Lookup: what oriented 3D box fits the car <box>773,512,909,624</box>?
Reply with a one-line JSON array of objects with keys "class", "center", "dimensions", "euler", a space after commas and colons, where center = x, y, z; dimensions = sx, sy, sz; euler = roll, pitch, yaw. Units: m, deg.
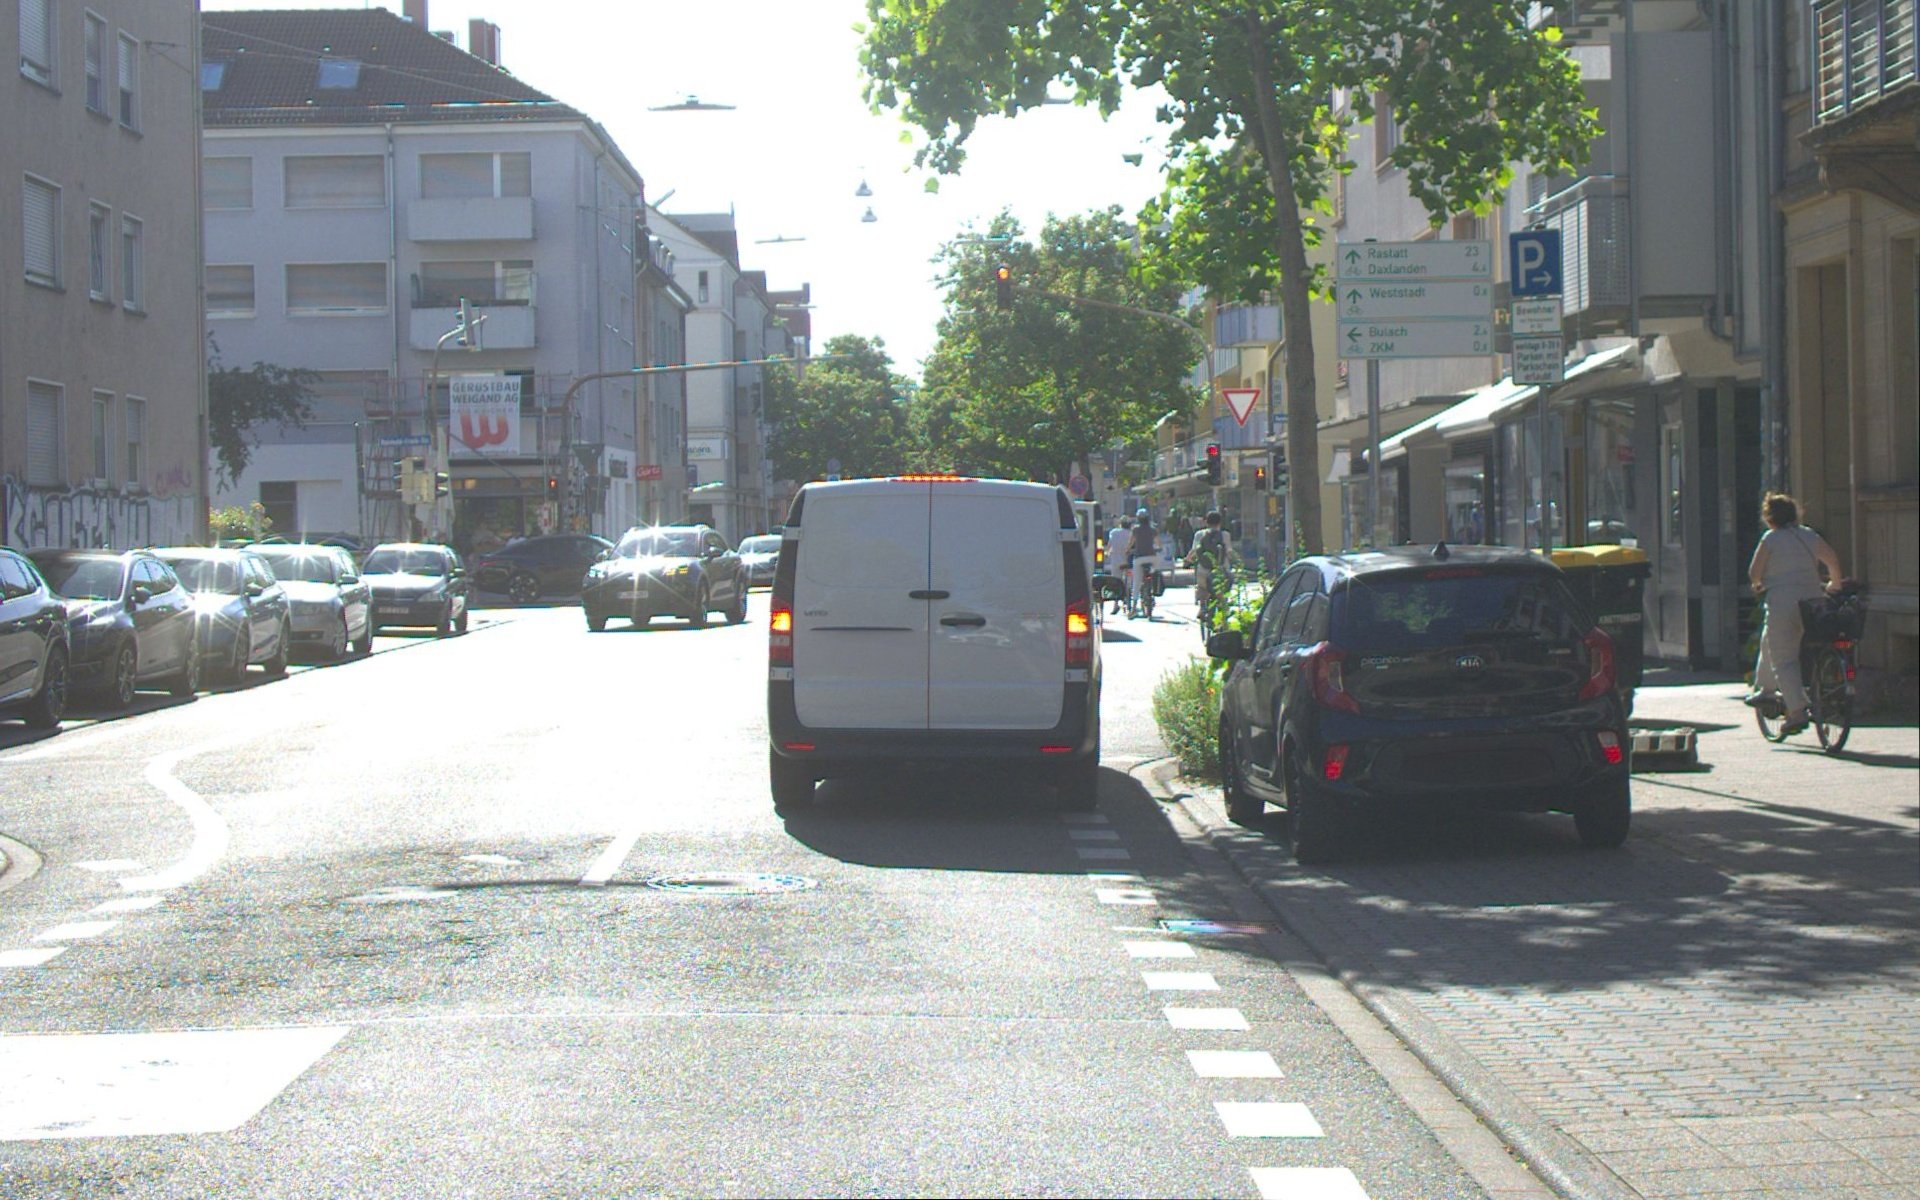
[{"class": "car", "center": [-1.722, -0.489, 49.587], "dimensions": [1.844, 1.502, 4.001], "euler": [-1, 1, -2]}]

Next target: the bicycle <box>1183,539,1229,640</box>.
[{"class": "bicycle", "center": [3.161, -0.143, 44.223], "dimensions": [0.475, 1.270, 1.218], "euler": [-1, 1, -1]}]

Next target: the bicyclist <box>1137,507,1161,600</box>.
[{"class": "bicyclist", "center": [3.182, -0.784, 57.883], "dimensions": [0.355, 1.570, 0.482], "euler": [0, 1, -4]}]

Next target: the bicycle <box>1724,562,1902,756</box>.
[{"class": "bicycle", "center": [5.479, 0.352, 22.186], "dimensions": [0.536, 1.145, 2.124], "euler": [-2, 1, -1]}]

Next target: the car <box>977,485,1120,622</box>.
[{"class": "car", "center": [1.278, -0.724, 51.599], "dimensions": [1.815, 1.914, 4.645], "euler": [-1, 1, -2]}]

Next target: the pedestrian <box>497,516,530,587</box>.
[{"class": "pedestrian", "center": [-10.592, -1.157, 81.567], "dimensions": [0.683, 1.658, 0.601], "euler": [-1, 1, -2]}]

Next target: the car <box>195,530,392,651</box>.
[{"class": "car", "center": [-8.753, -0.171, 45.492], "dimensions": [1.776, 1.464, 4.760], "euler": [1, 1, -2]}]

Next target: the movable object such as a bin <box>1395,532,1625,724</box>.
[{"class": "movable object such as a bin", "center": [4.084, 0.196, 25.517], "dimensions": [1.268, 1.343, 1.108], "euler": [-3, 2, -43]}]

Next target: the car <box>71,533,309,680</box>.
[{"class": "car", "center": [-8.691, 0.024, 39.157], "dimensions": [1.721, 1.491, 4.626], "euler": [2, 1, -1]}]

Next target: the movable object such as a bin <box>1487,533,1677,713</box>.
[{"class": "movable object such as a bin", "center": [4.845, 0.167, 26.757], "dimensions": [1.040, 1.343, 1.106], "euler": [0, 2, 38]}]

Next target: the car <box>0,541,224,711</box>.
[{"class": "car", "center": [-8.793, 0.207, 34.075], "dimensions": [1.993, 1.491, 4.228], "euler": [2, 1, 1]}]

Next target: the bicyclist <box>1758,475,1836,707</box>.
[{"class": "bicyclist", "center": [5.390, -0.063, 22.148], "dimensions": [0.361, 1.472, 0.531], "euler": [-1, 1, -1]}]

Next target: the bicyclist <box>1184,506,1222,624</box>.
[{"class": "bicyclist", "center": [3.136, -0.452, 44.374], "dimensions": [0.439, 1.503, 0.497], "euler": [-1, 1, -1]}]

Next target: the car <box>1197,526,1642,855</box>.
[{"class": "car", "center": [2.267, 0.381, 17.795], "dimensions": [1.635, 1.470, 3.581], "euler": [-2, 1, -2]}]

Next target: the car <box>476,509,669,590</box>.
[{"class": "car", "center": [-8.277, -1.098, 73.676], "dimensions": [3.986, 1.634, 2.000], "euler": [-1, 1, -4]}]

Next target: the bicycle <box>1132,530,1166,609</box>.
[{"class": "bicycle", "center": [3.173, -0.528, 57.766], "dimensions": [0.416, 1.305, 1.335], "euler": [-1, 1, -3]}]

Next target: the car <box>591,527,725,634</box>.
[{"class": "car", "center": [-4.934, -0.354, 56.613], "dimensions": [1.867, 1.608, 4.428], "euler": [-2, 1, -1]}]

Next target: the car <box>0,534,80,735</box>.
[{"class": "car", "center": [-8.692, 0.274, 28.128], "dimensions": [1.877, 1.600, 4.365], "euler": [0, 1, 0]}]

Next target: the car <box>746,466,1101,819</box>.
[{"class": "car", "center": [-0.326, 0.159, 21.085], "dimensions": [1.920, 1.907, 4.889], "euler": [0, 2, -3]}]

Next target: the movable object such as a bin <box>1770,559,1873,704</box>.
[{"class": "movable object such as a bin", "center": [6.363, 0.226, 25.411], "dimensions": [0.598, 1.038, 0.546], "euler": [-1, 1, -1]}]

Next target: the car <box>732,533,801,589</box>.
[{"class": "car", "center": [-5.016, -1.035, 89.449], "dimensions": [1.618, 1.393, 3.731], "euler": [-1, 1, -1]}]

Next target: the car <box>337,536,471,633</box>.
[{"class": "car", "center": [-8.982, -0.274, 55.777], "dimensions": [1.653, 1.474, 4.001], "euler": [0, 1, -2]}]

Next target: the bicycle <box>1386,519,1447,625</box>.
[{"class": "bicycle", "center": [5.741, -0.362, 43.293], "dimensions": [0.475, 1.270, 1.218], "euler": [-5, 1, -1]}]
